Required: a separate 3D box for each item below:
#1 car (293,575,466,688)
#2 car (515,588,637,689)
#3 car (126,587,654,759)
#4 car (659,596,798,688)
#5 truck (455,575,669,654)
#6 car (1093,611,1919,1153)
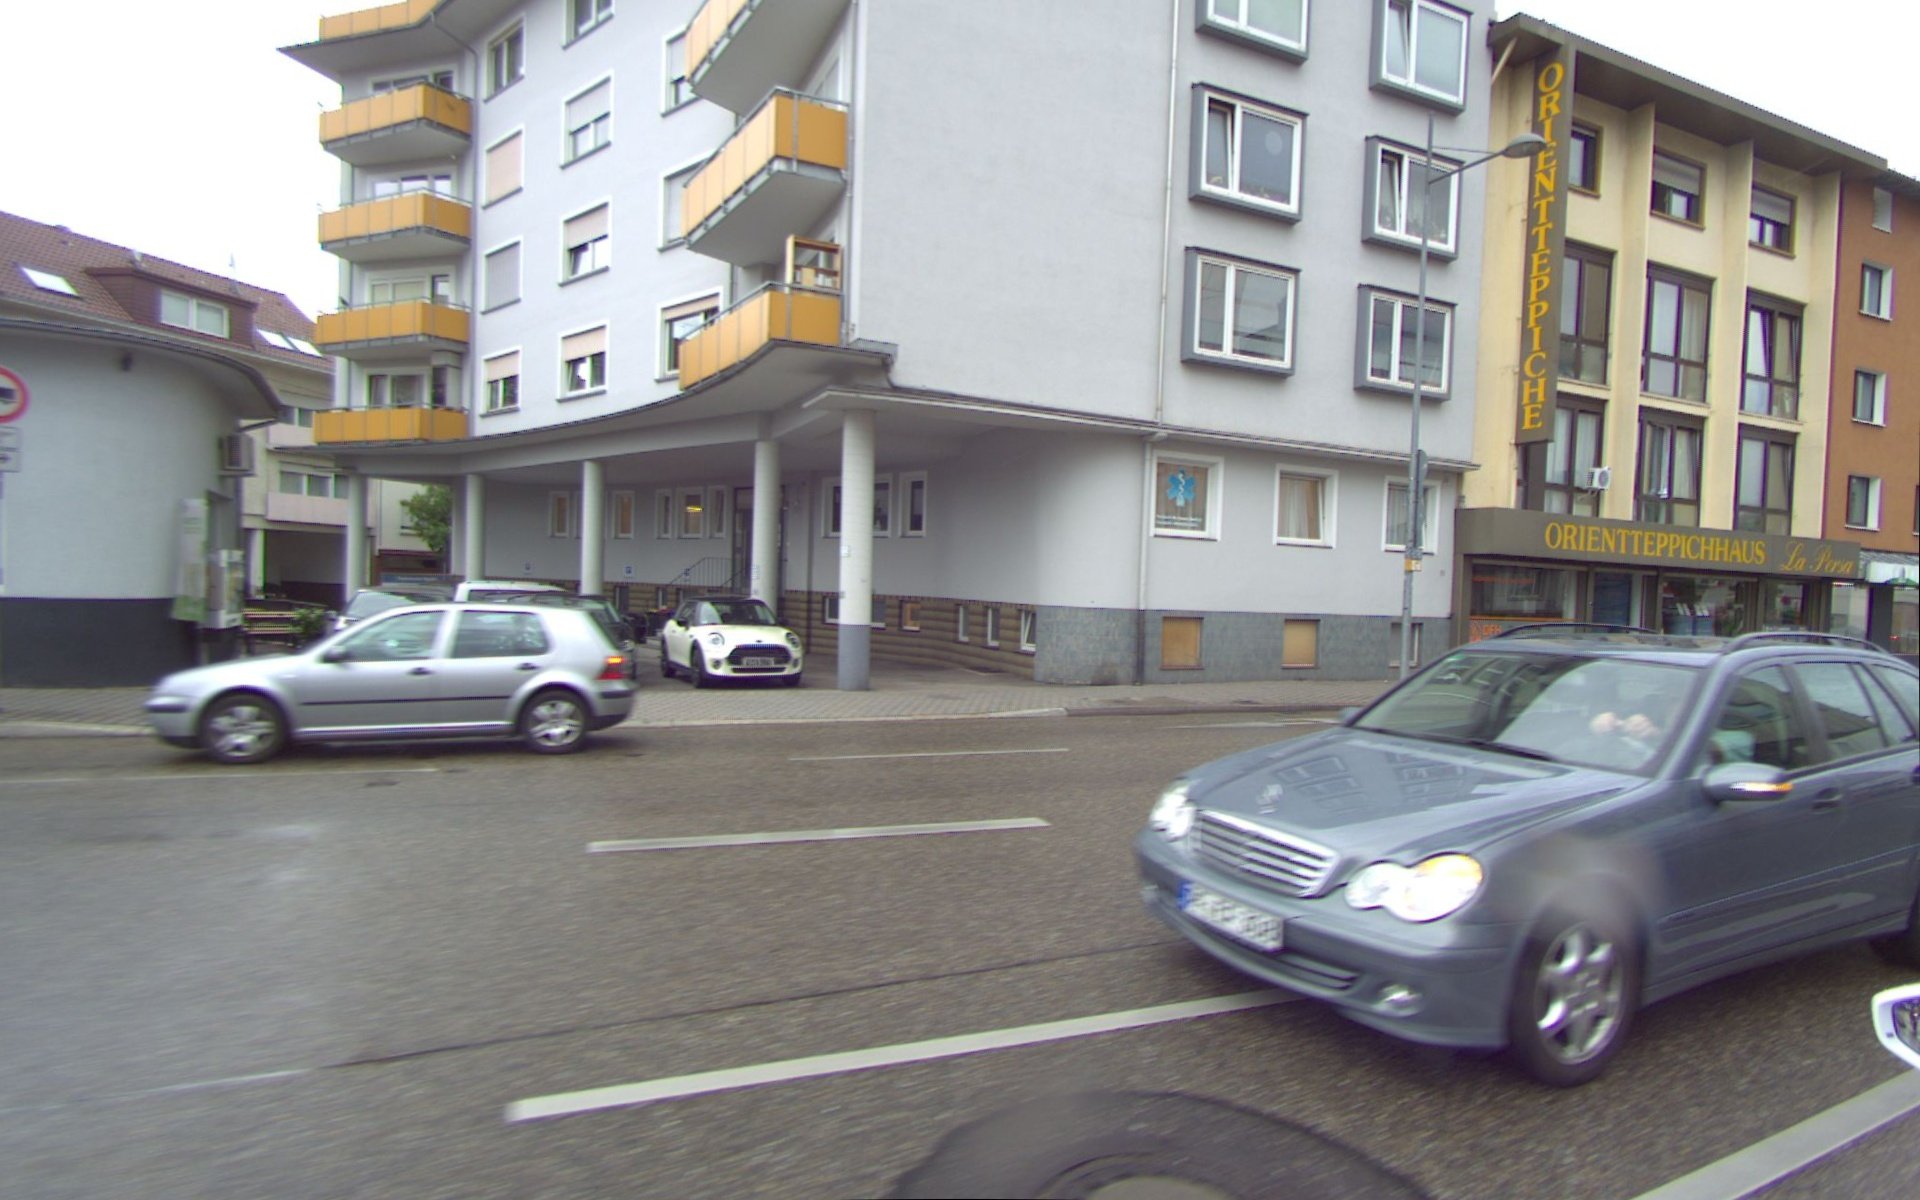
[{"bbox_3d":[-8.572,0.476,15.151,1.773,1.439,3.803,3,-2,-24],"label":"car"},{"bbox_3d":[-6.299,0.603,16.286,1.615,1.439,3.747,2,-2,-24],"label":"car"},{"bbox_3d":[-5.105,0.688,9.650,4.047,1.384,1.726,3,0,-19],"label":"car"},{"bbox_3d":[-3.975,0.676,16.864,1.476,1.356,3.610,2,-2,-26],"label":"car"},{"bbox_3d":[-11.111,0.454,28.262,5.345,1.894,1.787,3,-2,-24],"label":"truck"},{"bbox_3d":[2.910,0.861,4.574,4.358,1.459,1.726,2,0,-28],"label":"car"}]
